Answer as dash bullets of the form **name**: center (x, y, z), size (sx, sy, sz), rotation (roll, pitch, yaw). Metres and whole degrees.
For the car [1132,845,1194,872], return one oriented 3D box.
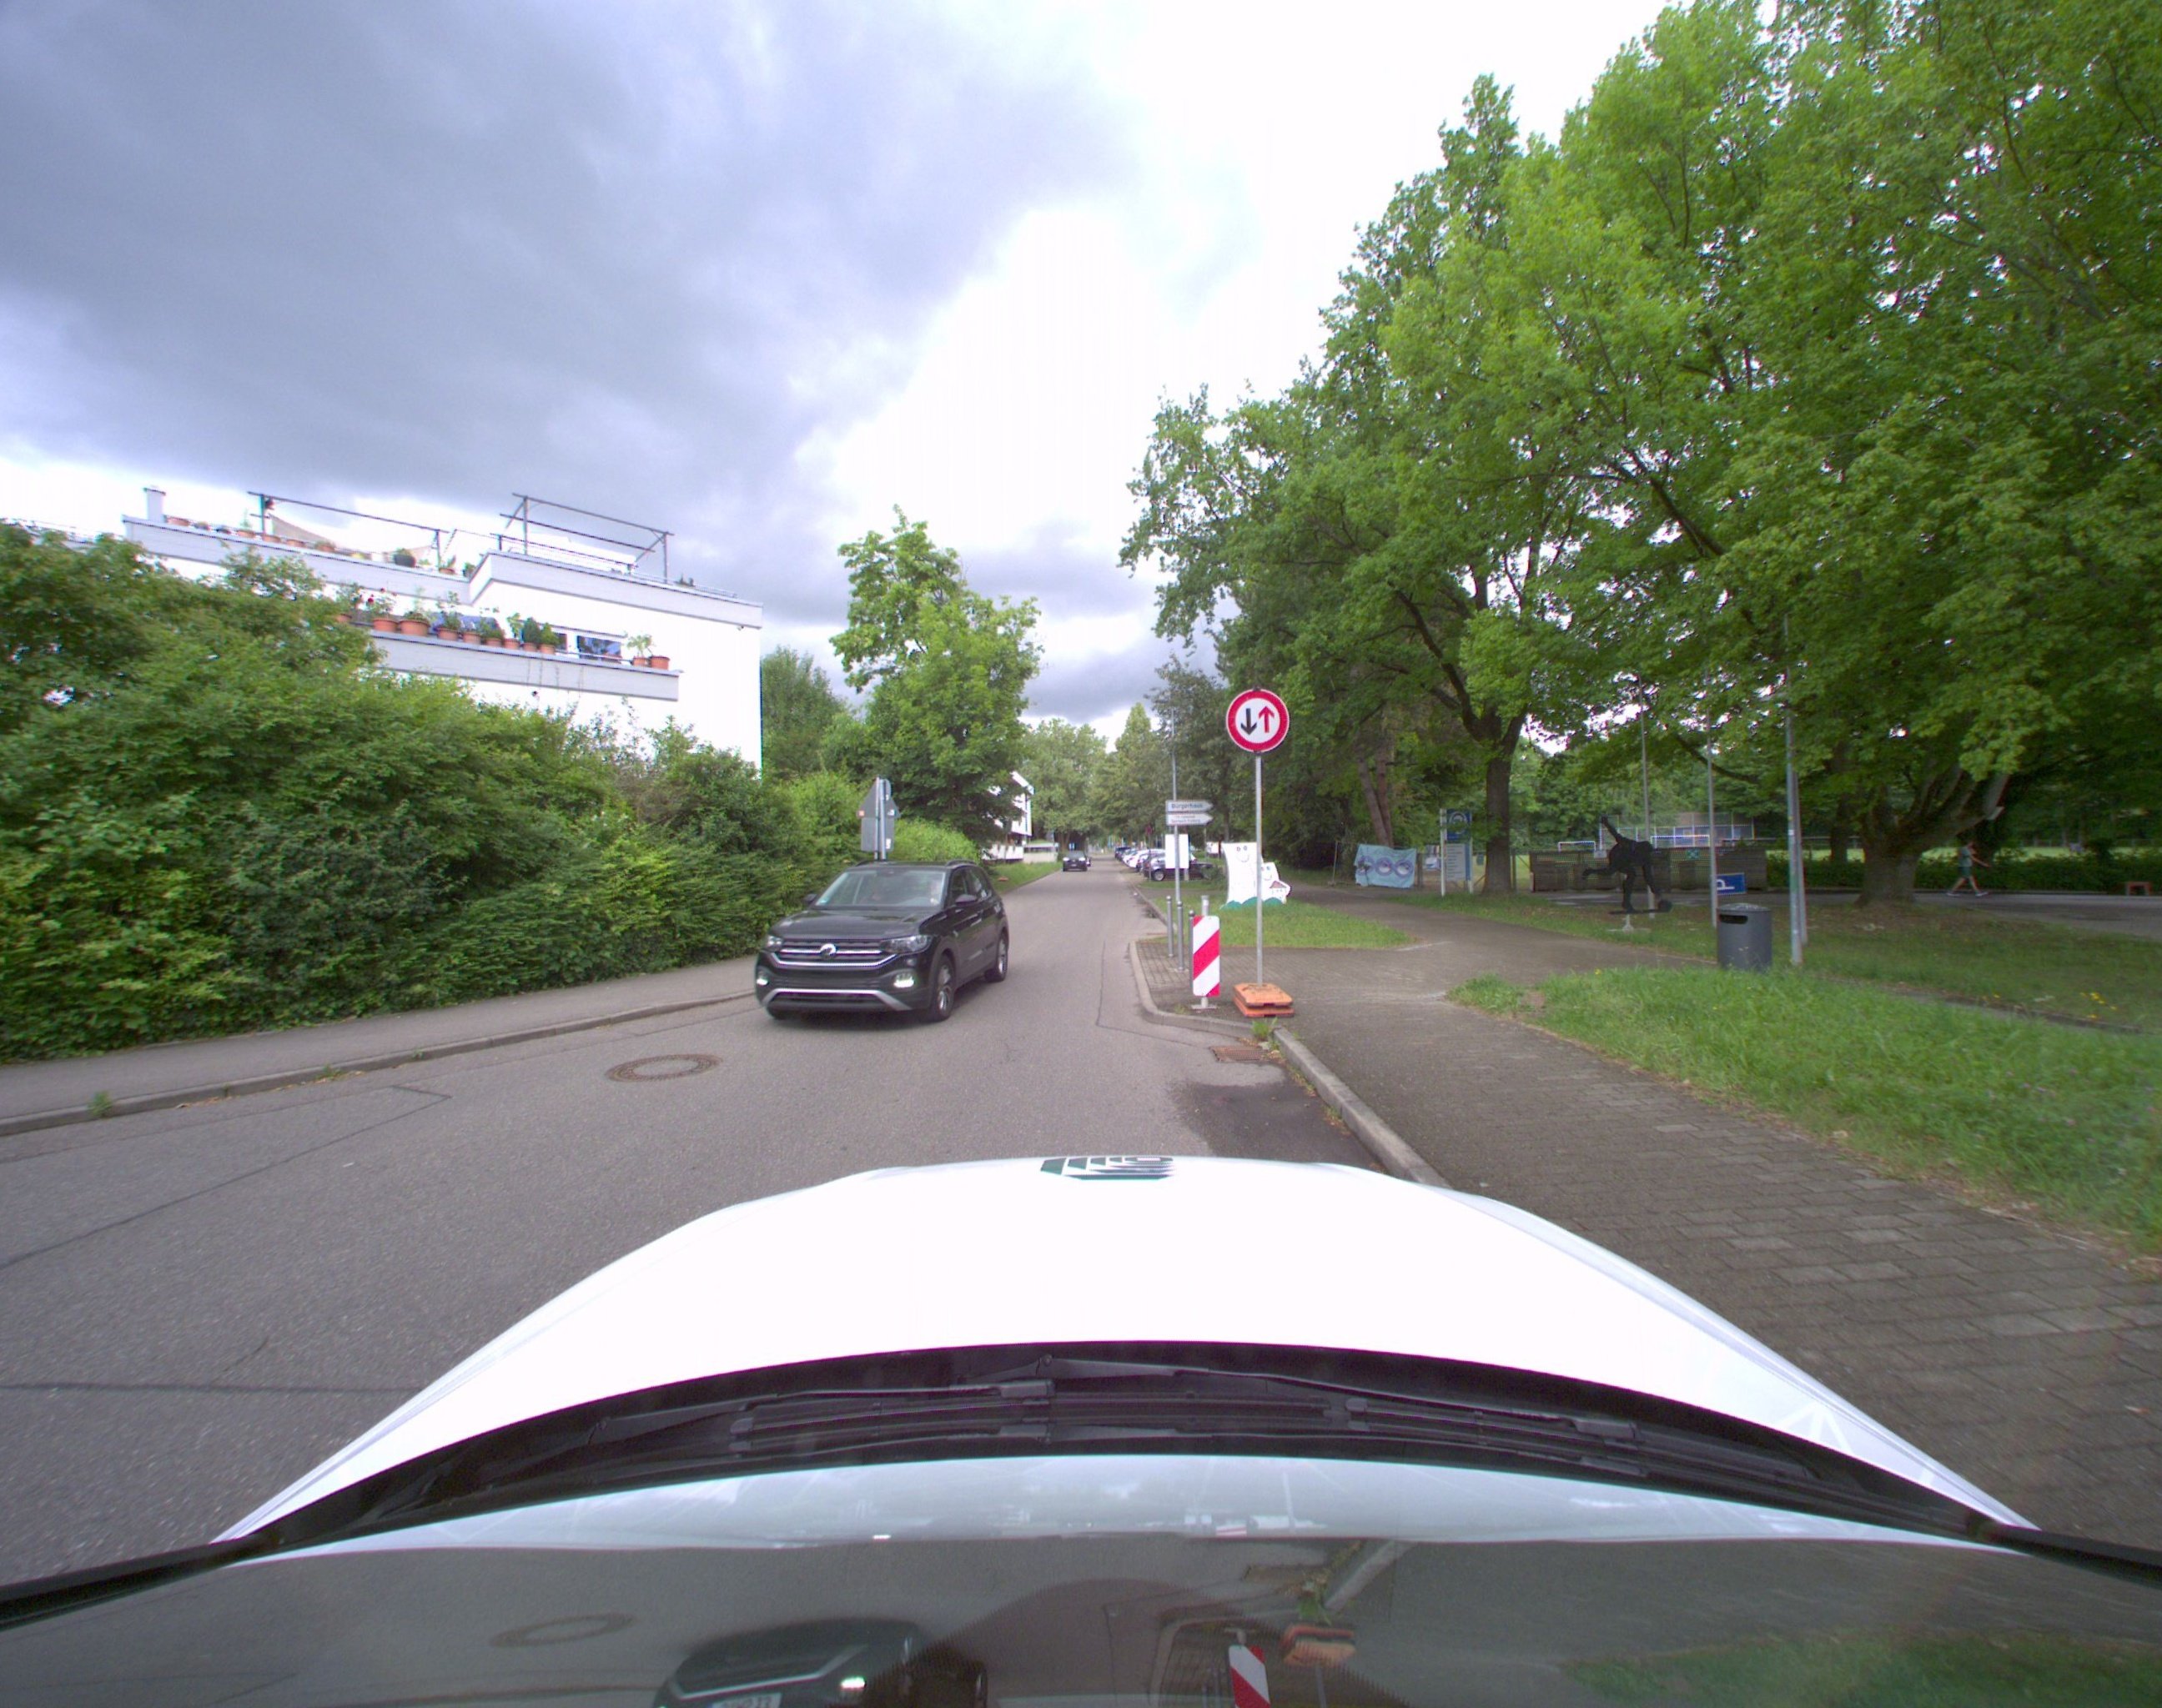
- **car**: center (5.752, 0.311, 57.448), size (4.053, 1.488, 1.821), rotation (-5, 0, -2)

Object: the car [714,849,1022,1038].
- **car**: center (-1.992, 0.759, 9.083), size (1.793, 1.591, 4.305), rotation (-1, 0, 7)

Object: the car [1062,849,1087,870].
- **car**: center (-0.538, 0.430, 70.325), size (1.962, 1.747, 4.338), rotation (-1, 0, 1)

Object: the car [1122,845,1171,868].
- **car**: center (5.877, 0.226, 73.332), size (4.053, 1.687, 1.821), rotation (-5, 0, -2)

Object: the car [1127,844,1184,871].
- **car**: center (5.741, 0.248, 62.769), size (4.053, 1.687, 1.821), rotation (-5, 0, -2)

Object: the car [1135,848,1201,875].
- **car**: center (5.560, 0.474, 52.577), size (4.049, 1.568, 1.823), rotation (-3, 0, 0)

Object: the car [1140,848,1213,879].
- **car**: center (5.542, 0.558, 47.790), size (4.049, 1.568, 1.822), rotation (-3, -2, 0)

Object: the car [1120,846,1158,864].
- **car**: center (6.539, 0.108, 92.094), size (4.053, 1.687, 1.821), rotation (-5, 0, -2)

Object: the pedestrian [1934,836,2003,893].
- **pedestrian**: center (27.387, 0.338, 25.161), size (1.137, 1.674, 0.798), rotation (-4, -2, 27)

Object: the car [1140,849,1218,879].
- **car**: center (5.396, 0.565, 45.037), size (4.049, 1.434, 2.000), rotation (-3, -2, 0)

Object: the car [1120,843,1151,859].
- **car**: center (7.502, -0.425, 112.989), size (4.053, 1.770, 1.821), rotation (-5, 0, -2)

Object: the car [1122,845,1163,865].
- **car**: center (6.497, 0.093, 86.235), size (4.053, 1.687, 1.821), rotation (-5, 0, -2)

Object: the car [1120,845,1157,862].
- **car**: center (6.839, -0.091, 96.843), size (4.053, 1.687, 1.821), rotation (-5, 0, -2)

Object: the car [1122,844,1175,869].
- **car**: center (5.500, 0.195, 66.461), size (4.053, 1.687, 1.821), rotation (-5, 0, -2)
